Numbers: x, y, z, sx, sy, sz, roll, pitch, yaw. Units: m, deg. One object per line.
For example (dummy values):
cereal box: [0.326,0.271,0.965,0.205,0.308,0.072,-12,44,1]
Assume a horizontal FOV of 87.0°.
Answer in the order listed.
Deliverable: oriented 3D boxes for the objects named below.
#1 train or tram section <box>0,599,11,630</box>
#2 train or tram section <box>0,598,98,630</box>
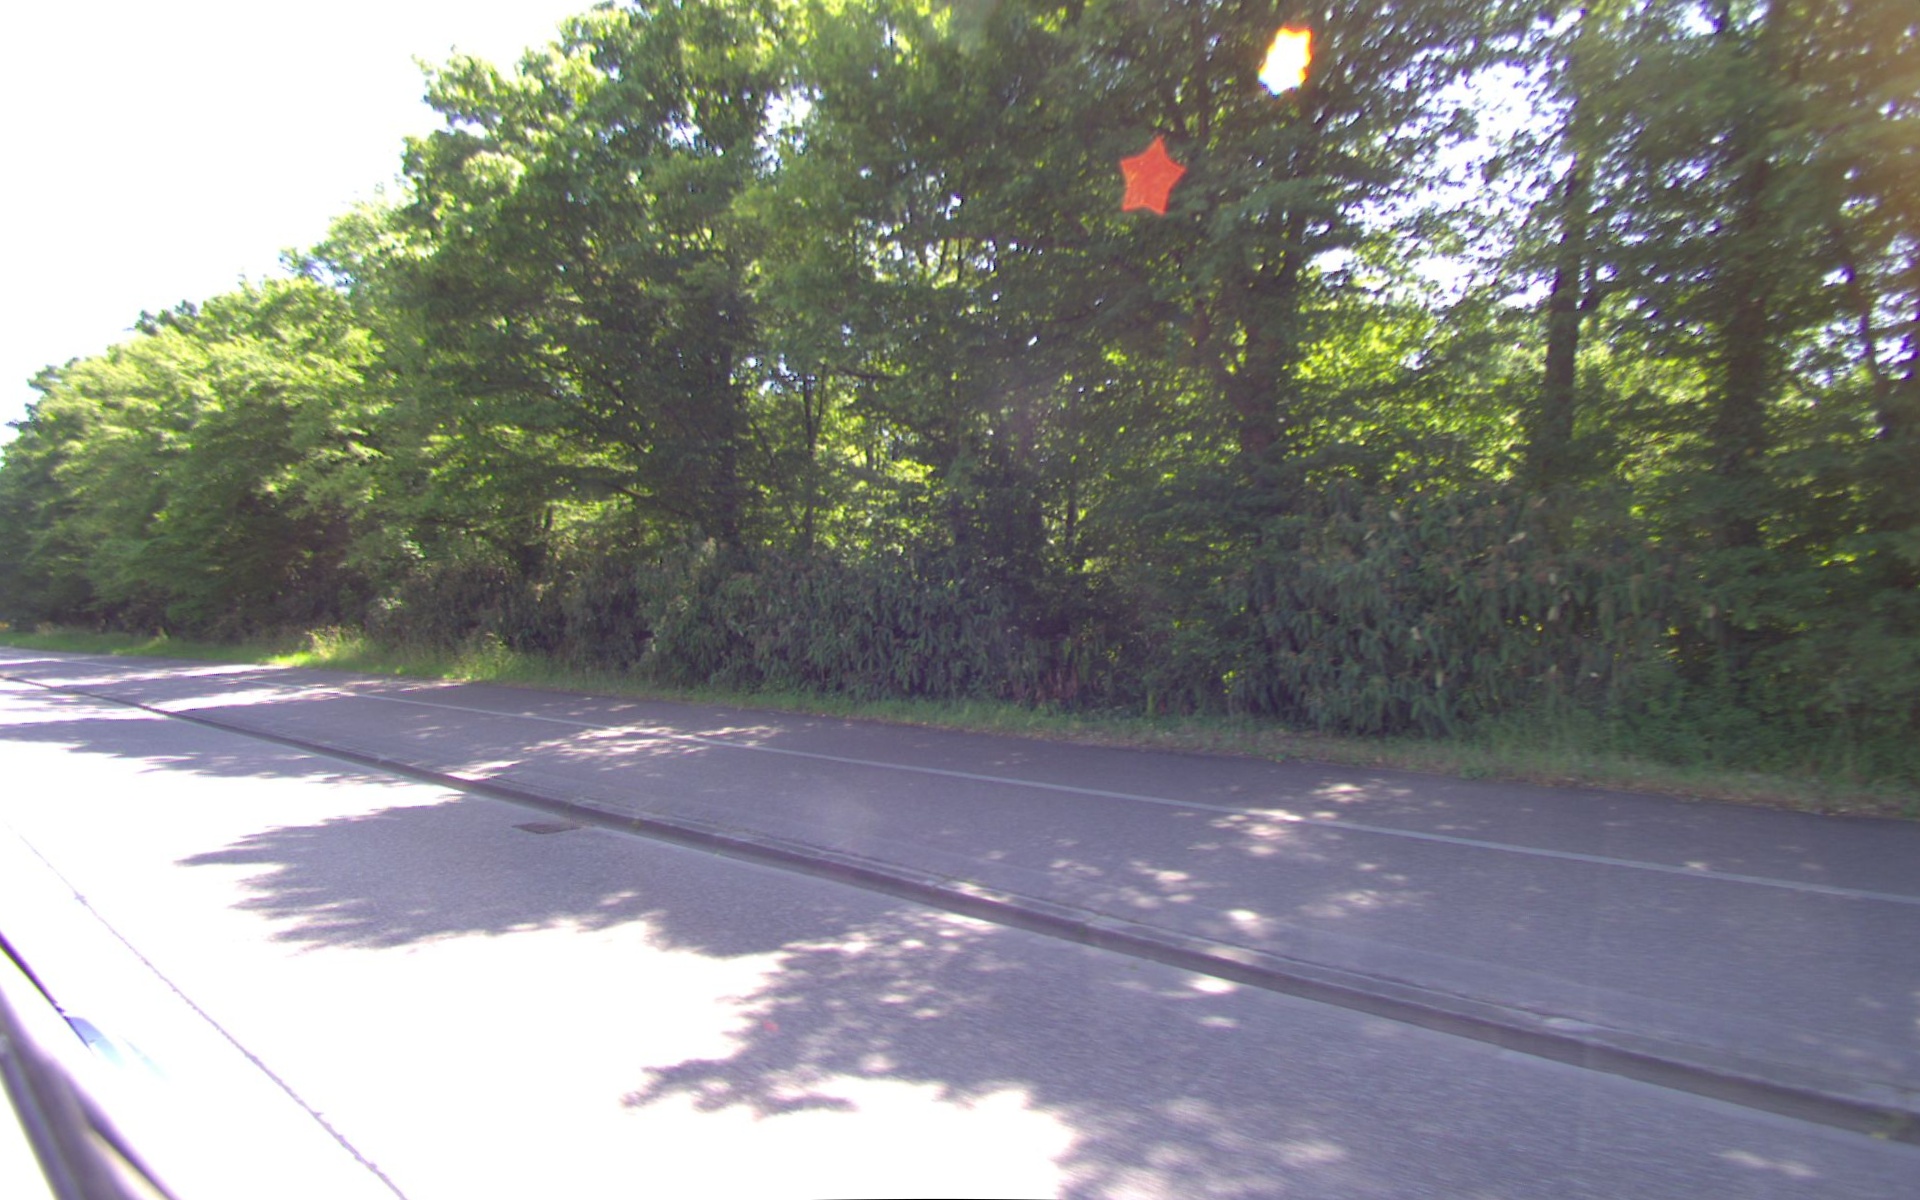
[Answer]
train or tram section: [-113.646,1.682,114.568,10.720,3.492,2.647,-1,0,6]
train or tram section: [-104.701,1.581,115.554,9.191,3.492,2.792,-1,-1,-20]
